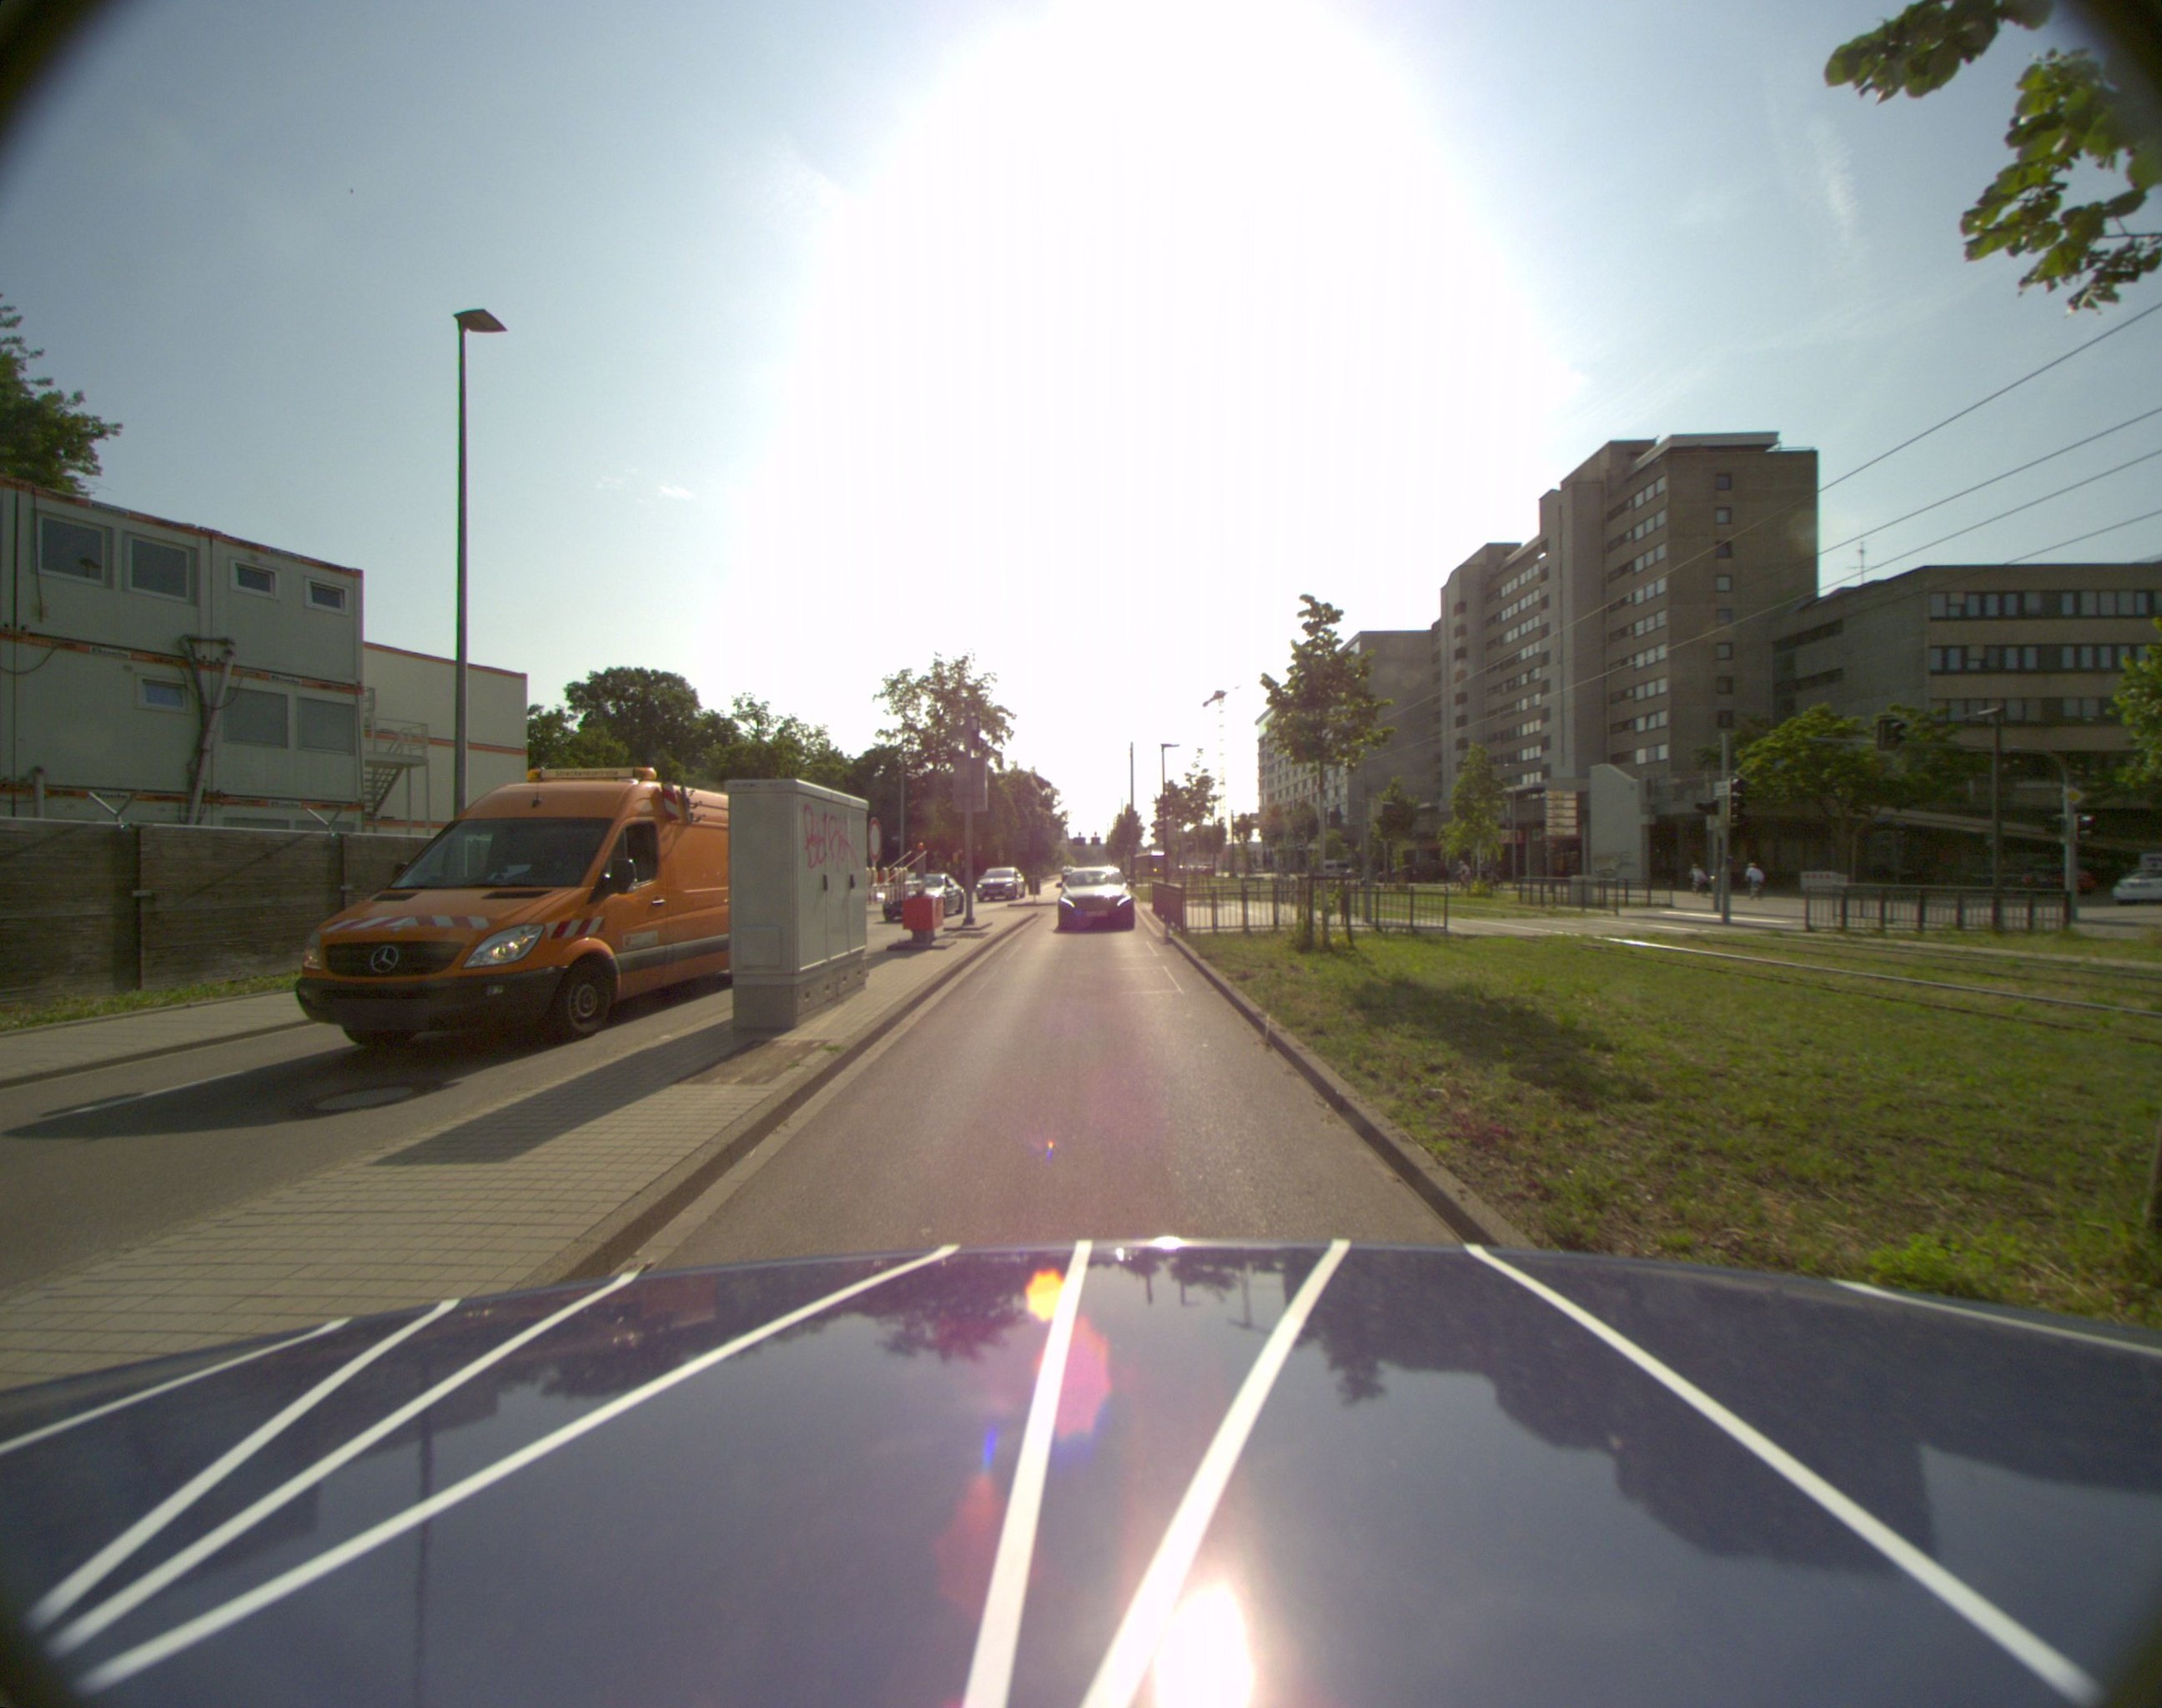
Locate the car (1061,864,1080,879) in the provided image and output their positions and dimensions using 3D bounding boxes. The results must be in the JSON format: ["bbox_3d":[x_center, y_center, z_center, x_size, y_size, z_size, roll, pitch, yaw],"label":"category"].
[{"bbox_3d":[-1.100,1.860,82.037,1.904,1.584,4.001,-1,0,1],"label":"car"}]

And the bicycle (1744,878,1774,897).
[{"bbox_3d":[31.704,1.572,35.555,0.719,0.793,1.606,-3,0,29],"label":"bicycle"}]

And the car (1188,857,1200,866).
[{"bbox_3d":[20.635,1.416,138.598,1.811,1.564,4.001,-1,0,4],"label":"car"}]

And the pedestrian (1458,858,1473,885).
[{"bbox_3d":[24.397,1.108,48.246,0.660,1.680,0.646,-1,0,4],"label":"pedestrian"}]

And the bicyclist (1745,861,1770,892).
[{"bbox_3d":[31.711,1.053,35.608,0.686,1.432,0.807,-3,1,30],"label":"bicyclist"}]

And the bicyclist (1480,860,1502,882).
[{"bbox_3d":[26.668,1.108,49.460,1.024,1.432,0.685,-1,0,-2],"label":"bicyclist"}]

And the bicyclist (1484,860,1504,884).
[{"bbox_3d":[25.007,1.099,45.997,0.971,1.387,0.547,2,-1,20],"label":"bicyclist"}]

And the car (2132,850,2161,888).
[{"bbox_3d":[56.686,0.780,37.839,1.998,1.957,4.832,-1,1,1],"label":"car"}]

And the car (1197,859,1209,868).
[{"bbox_3d":[20.315,1.599,126.738,1.745,1.478,3.642,-1,0,4],"label":"car"}]

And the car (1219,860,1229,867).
[{"bbox_3d":[35.390,2.334,188.714,1.847,1.658,4.001,-3,0,3],"label":"car"}]

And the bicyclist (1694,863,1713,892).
[{"bbox_3d":[32.350,1.196,39.505,0.619,1.491,0.988,-1,0,32],"label":"bicyclist"}]

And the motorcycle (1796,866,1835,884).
[{"bbox_3d":[44.176,1.252,45.735,0.494,1.011,1.946,0,0,2],"label":"motorcycle"}]

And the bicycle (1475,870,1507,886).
[{"bbox_3d":[24.834,1.433,46.045,1.609,0.929,0.558,0,-2,20],"label":"bicycle"}]

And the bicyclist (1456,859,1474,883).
[{"bbox_3d":[22.779,1.012,45.034,0.911,1.377,0.705,0,-1,24],"label":"bicyclist"}]

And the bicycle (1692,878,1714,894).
[{"bbox_3d":[32.393,1.651,39.559,0.627,0.789,2.007,-1,0,32],"label":"bicycle"}]

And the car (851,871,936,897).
[{"bbox_3d":[-10.655,1.705,43.275,4.273,1.397,2.003,-1,0,19],"label":"car"}]

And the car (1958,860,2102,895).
[{"bbox_3d":[49.208,1.171,39.554,1.914,1.618,4.380,-3,0,-2],"label":"car"}]

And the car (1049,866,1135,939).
[{"bbox_3d":[0.308,1.065,18.432,1.759,1.437,4.618,-2,0,2],"label":"car"}]

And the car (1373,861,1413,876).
[{"bbox_3d":[30.978,1.429,75.419,4.119,1.237,1.875,-2,0,-38],"label":"car"}]

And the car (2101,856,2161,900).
[{"bbox_3d":[41.061,0.889,28.396,3.633,1.573,1.709,-1,-3,-2],"label":"car"}]

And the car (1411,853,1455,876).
[{"bbox_3d":[31.670,0.946,68.364,4.119,1.957,1.874,-1,0,-38],"label":"car"}]

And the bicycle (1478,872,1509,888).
[{"bbox_3d":[26.877,1.710,49.483,1.666,0.985,0.685,-1,0,-3],"label":"bicycle"}]

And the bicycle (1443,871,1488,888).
[{"bbox_3d":[22.779,1.501,45.010,2.341,0.993,0.709,-1,0,24],"label":"bicycle"}]

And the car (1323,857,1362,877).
[{"bbox_3d":[31.635,1.579,91.872,5.419,2.295,1.880,-1,0,-39],"label":"car"}]

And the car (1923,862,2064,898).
[{"bbox_3d":[46.793,1.294,39.130,1.914,1.618,4.380,-3,0,-2],"label":"car"}]

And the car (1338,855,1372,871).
[{"bbox_3d":[30.772,1.033,85.310,2.097,1.573,4.008,-4,-1,45],"label":"car"}]

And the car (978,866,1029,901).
[{"bbox_3d":[-3.797,1.429,37.808,1.897,1.561,4.251,-2,0,2],"label":"car"}]

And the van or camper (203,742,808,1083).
[{"bbox_3d":[-5.386,0.477,8.675,1.990,2.457,6.063,-2,-1,3],"label":"van or camper"}]

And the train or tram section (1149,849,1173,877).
[{"bbox_3d":[10.197,1.159,97.294,2.500,3.409,6.670,0,0,2],"label":"train or tram section"}]

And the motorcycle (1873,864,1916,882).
[{"bbox_3d":[48.238,1.112,45.084,0.494,1.011,1.946,-1,0,2],"label":"motorcycle"}]

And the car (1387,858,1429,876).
[{"bbox_3d":[30.925,1.222,71.837,4.119,1.597,1.874,-1,0,-38],"label":"car"}]

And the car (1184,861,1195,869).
[{"bbox_3d":[20.796,2.073,145.260,1.811,1.466,4.001,-1,0,4],"label":"car"}]

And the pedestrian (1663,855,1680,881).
[{"bbox_3d":[40.585,0.947,52.248,0.699,1.766,0.625,-1,0,-12],"label":"pedestrian"}]
